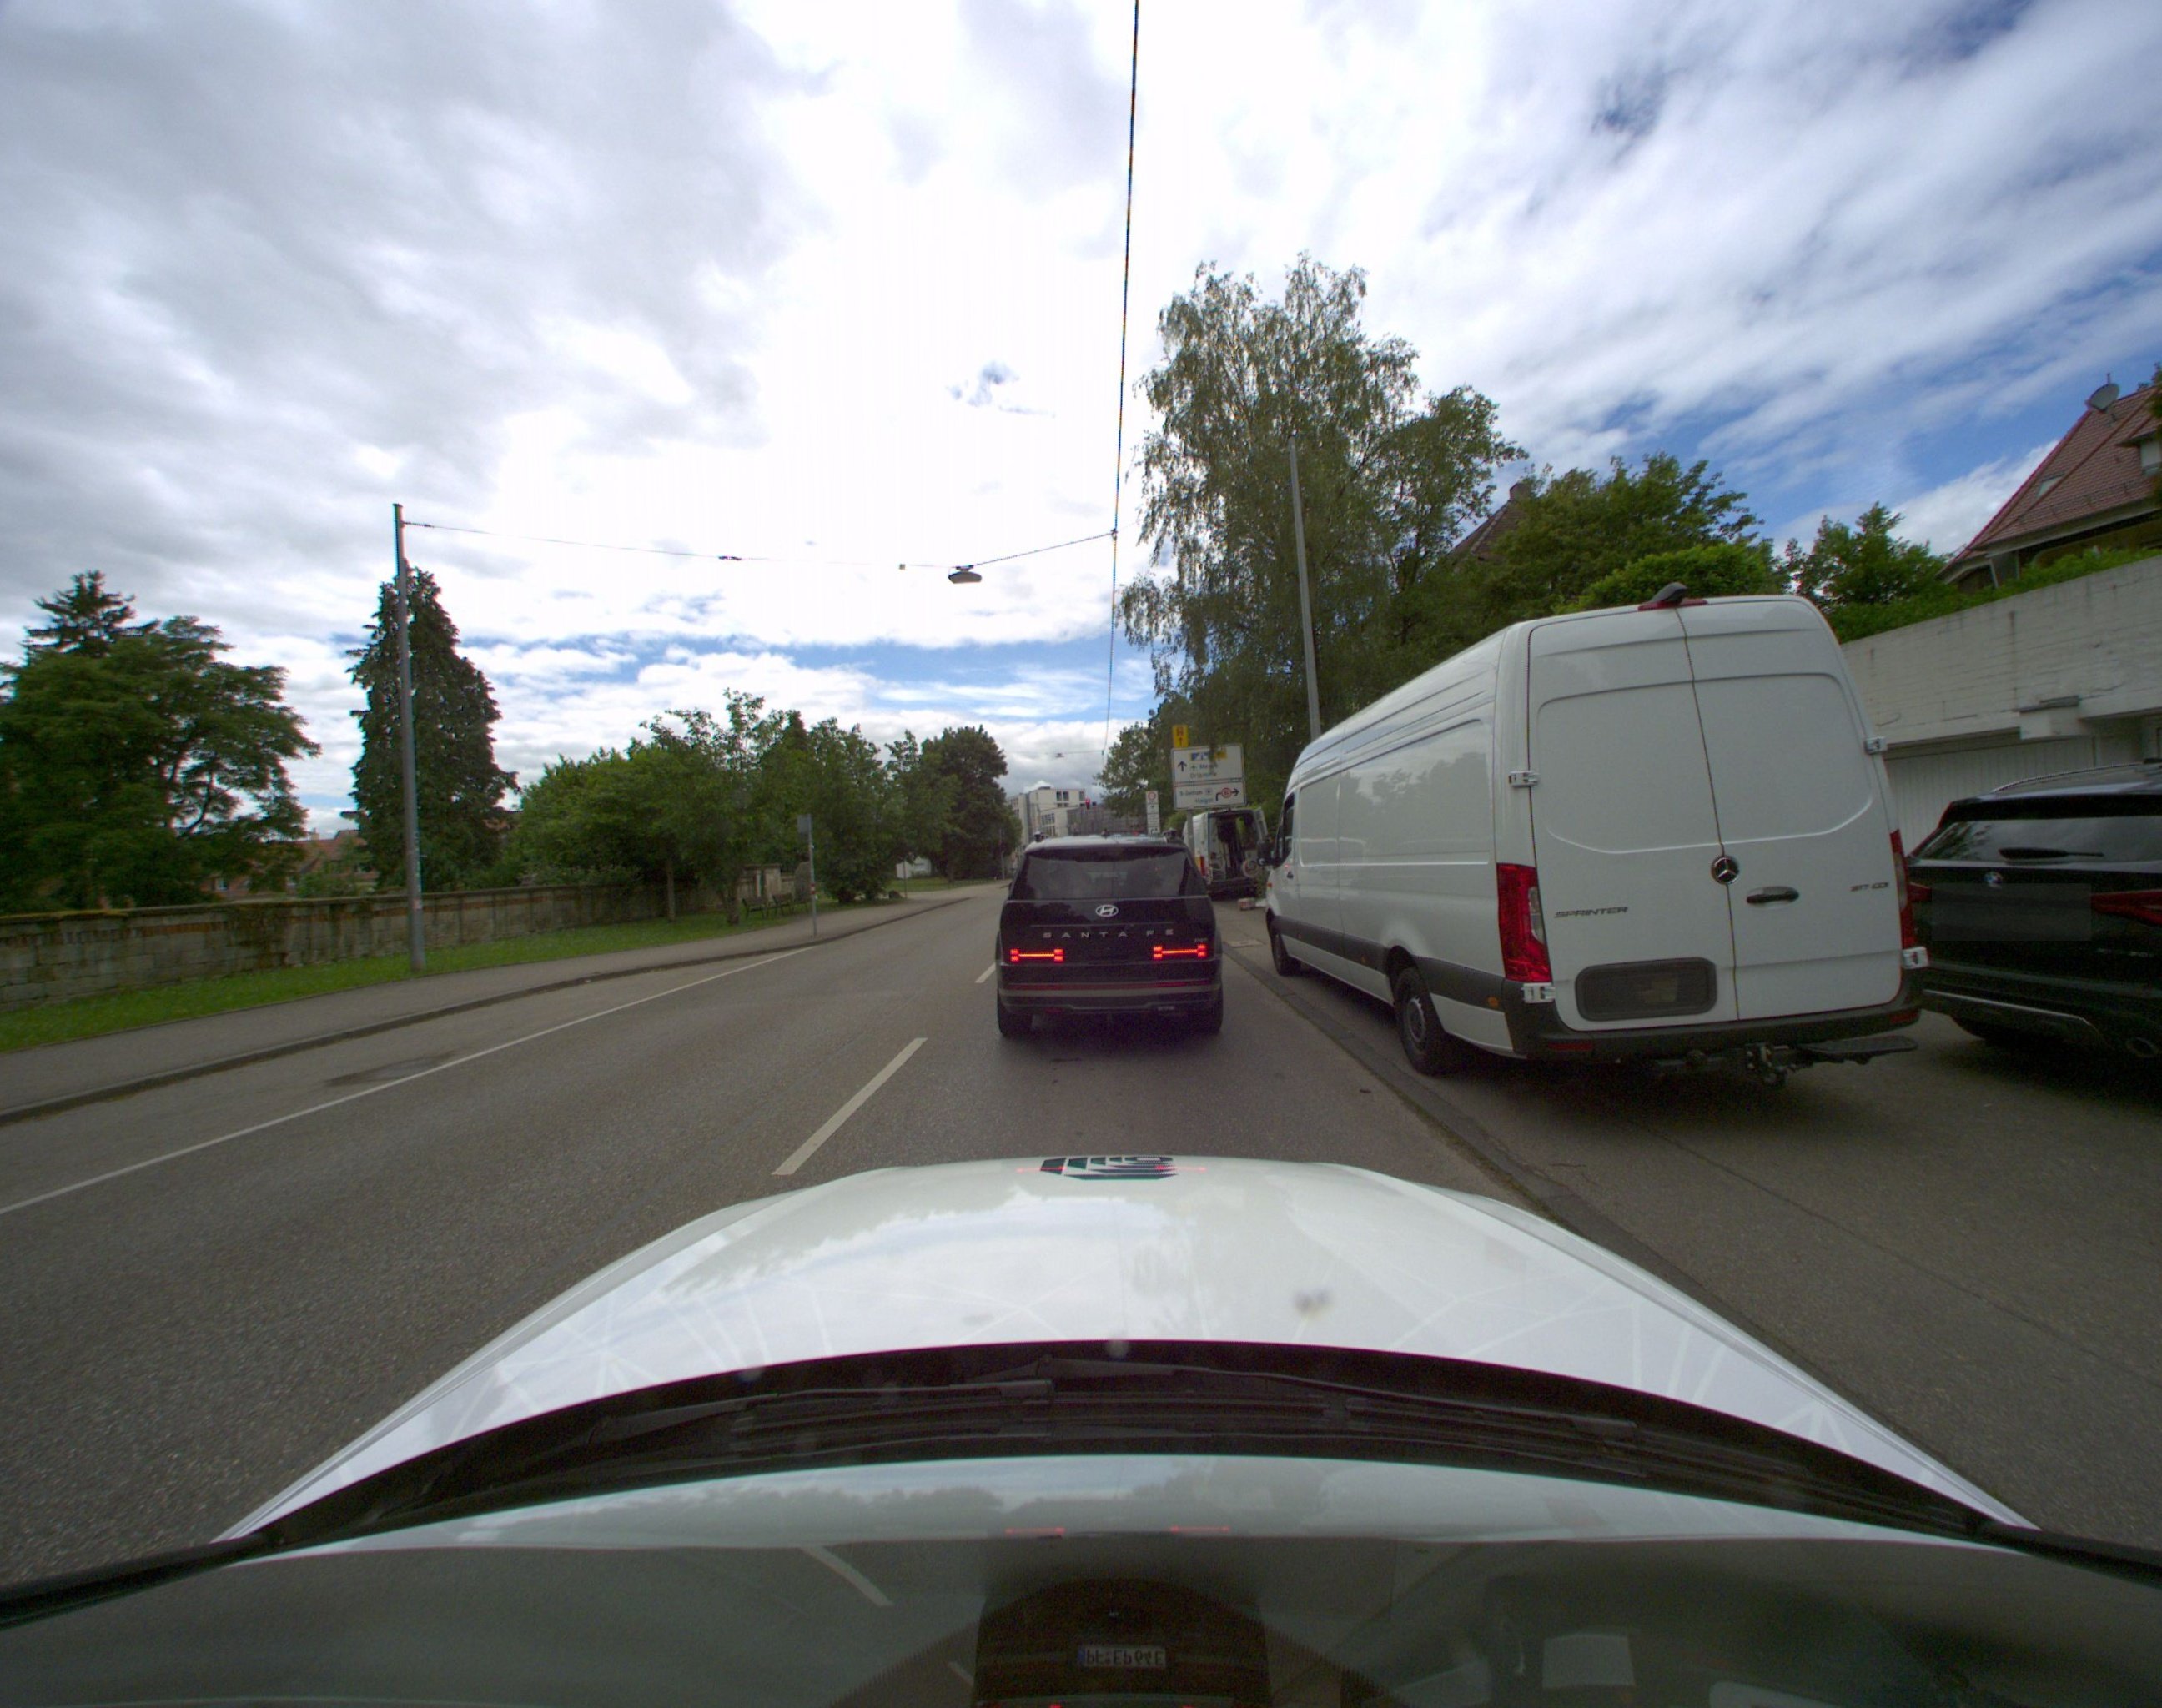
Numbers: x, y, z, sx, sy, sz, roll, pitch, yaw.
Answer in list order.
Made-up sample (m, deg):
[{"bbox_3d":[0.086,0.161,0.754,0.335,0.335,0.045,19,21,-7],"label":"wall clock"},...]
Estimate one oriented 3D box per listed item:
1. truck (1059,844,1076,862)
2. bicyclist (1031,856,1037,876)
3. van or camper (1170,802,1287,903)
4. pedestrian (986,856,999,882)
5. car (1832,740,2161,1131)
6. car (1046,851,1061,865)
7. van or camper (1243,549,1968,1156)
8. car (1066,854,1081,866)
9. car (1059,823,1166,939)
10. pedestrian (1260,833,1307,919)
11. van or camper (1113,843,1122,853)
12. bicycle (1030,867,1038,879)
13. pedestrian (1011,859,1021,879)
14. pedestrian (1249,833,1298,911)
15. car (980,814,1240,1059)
[{"bbox_3d":[-3.125,-0.244,187.577,3.101,3.859,9.607,-3,0,-4],"label":"truck"},{"bbox_3d":[-3.944,1.039,68.527,0.486,1.684,0.588,0,-1,1],"label":"bicyclist"},{"bbox_3d":[4.348,0.015,25.312,2.332,2.494,6.603,-6,-1,1],"label":"van or camper"},{"bbox_3d":[-6.841,1.134,63.097,0.826,2.014,1.048,0,-1,4],"label":"pedestrian"},{"bbox_3d":[6.799,0.212,4.076,4.365,1.675,1.696,-4,-1,2],"label":"car"},{"bbox_3d":[-4.888,0.662,144.611,2.328,2.315,4.950,-3,0,-4],"label":"car"},{"bbox_3d":[3.070,0.017,7.054,1.984,2.625,6.546,-6,-1,2],"label":"van or camper"},{"bbox_3d":[-0.941,0.786,108.140,1.750,1.403,4.416,-6,-1,2],"label":"car"},{"bbox_3d":[0.623,0.496,16.455,1.890,2.042,3.995,0,-1,2],"label":"car"},{"bbox_3d":[4.066,0.440,16.407,0.732,1.643,0.803,-4,-1,8],"label":"pedestrian"},{"bbox_3d":[7.708,-1.208,172.584,1.791,1.999,3.821,0,-1,-2],"label":"van or camper"},{"bbox_3d":[-3.933,1.590,68.595,0.493,0.964,1.749,0,-1,2],"label":"bicycle"},{"bbox_3d":[-5.762,1.347,72.167,0.765,1.748,0.903,-2,-1,-4],"label":"pedestrian"},{"bbox_3d":[4.382,0.407,18.562,0.757,1.721,0.782,0,-1,-44],"label":"pedestrian"},{"bbox_3d":[0.270,0.619,7.955,1.890,1.776,3.995,0,-1,2],"label":"car"}]
